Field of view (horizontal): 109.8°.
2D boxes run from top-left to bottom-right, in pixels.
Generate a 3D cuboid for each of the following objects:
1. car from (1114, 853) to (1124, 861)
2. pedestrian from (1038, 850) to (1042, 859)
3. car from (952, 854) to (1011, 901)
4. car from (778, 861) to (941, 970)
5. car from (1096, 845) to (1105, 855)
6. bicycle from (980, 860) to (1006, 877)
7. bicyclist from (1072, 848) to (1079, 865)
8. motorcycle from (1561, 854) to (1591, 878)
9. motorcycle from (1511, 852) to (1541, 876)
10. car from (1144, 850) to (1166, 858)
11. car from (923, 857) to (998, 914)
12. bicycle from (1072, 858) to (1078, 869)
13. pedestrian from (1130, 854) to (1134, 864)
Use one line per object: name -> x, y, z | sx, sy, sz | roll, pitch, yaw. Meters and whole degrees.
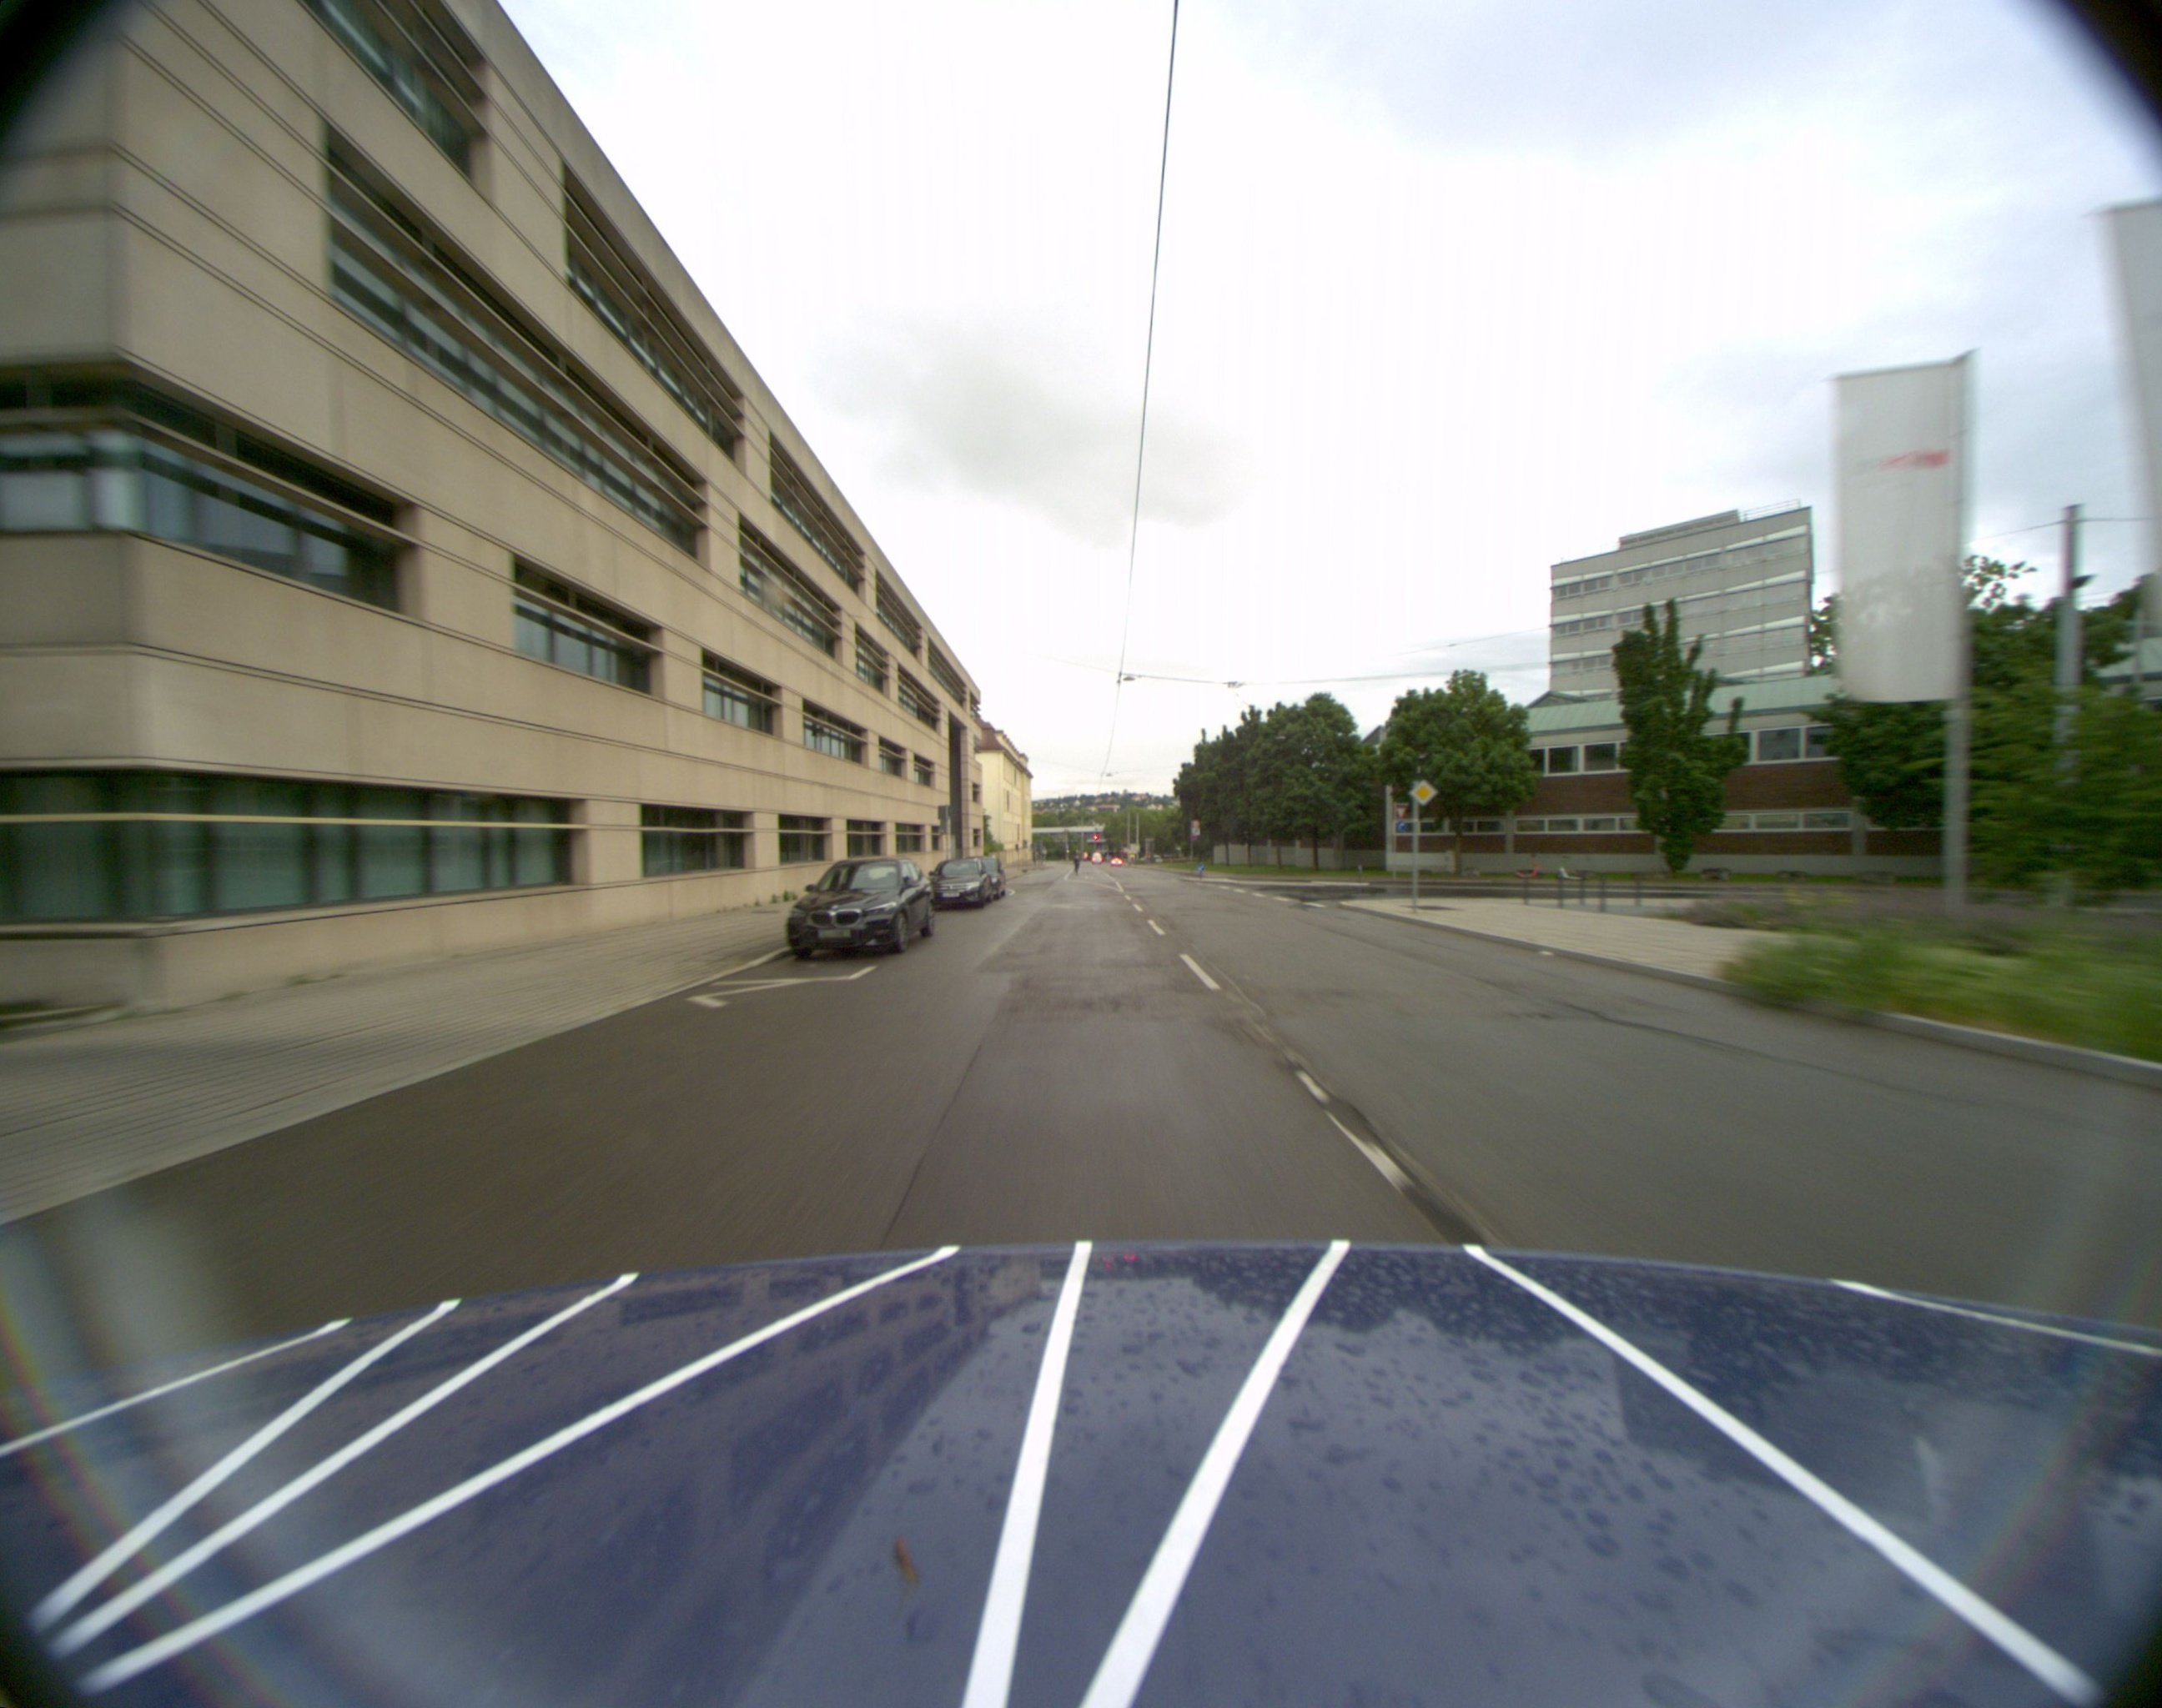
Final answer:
car -> 7.483, 0.520, 148.114 | 1.886, 1.482, 5.220 | 1, 0, 3
pedestrian -> -7.733, 0.067, 142.610 | 0.671, 1.787, 0.852 | 0, 1, 2
car -> -3.798, 0.842, 29.798 | 1.775, 1.594, 4.393 | -2, 1, -1
car -> -3.815, 0.970, 13.920 | 1.748, 1.524, 4.318 | -2, 1, -1
car -> 4.742, -0.939, 184.419 | 1.988, 2.514, 5.630 | 0, 0, -2
bicycle -> -6.100, 1.023, 52.765 | 1.734, 1.112, 0.659 | -1, 1, -5
bicyclist -> -0.473, 0.188, 65.008 | 0.485, 1.425, 0.930 | -2, 1, 2
motorcycle -> 23.947, 0.561, 36.743 | 1.166, 1.119, 0.414 | 1, 3, 37
motorcycle -> 22.389, 0.484, 38.228 | 1.224, 1.178, 0.414 | -1, 2, 37
car -> 14.951, 0.024, 154.128 | 1.872, 1.600, 4.515 | -3, 1, -33
car -> -3.810, 0.946, 24.644 | 1.730, 1.504, 4.056 | -3, 1, 0
bicycle -> -0.498, 0.829, 65.183 | 0.448, 0.957, 1.690 | -1, 0, 2
pedestrian -> 8.475, 0.831, 126.404 | 0.671, 1.677, 0.913 | -2, 1, 7
